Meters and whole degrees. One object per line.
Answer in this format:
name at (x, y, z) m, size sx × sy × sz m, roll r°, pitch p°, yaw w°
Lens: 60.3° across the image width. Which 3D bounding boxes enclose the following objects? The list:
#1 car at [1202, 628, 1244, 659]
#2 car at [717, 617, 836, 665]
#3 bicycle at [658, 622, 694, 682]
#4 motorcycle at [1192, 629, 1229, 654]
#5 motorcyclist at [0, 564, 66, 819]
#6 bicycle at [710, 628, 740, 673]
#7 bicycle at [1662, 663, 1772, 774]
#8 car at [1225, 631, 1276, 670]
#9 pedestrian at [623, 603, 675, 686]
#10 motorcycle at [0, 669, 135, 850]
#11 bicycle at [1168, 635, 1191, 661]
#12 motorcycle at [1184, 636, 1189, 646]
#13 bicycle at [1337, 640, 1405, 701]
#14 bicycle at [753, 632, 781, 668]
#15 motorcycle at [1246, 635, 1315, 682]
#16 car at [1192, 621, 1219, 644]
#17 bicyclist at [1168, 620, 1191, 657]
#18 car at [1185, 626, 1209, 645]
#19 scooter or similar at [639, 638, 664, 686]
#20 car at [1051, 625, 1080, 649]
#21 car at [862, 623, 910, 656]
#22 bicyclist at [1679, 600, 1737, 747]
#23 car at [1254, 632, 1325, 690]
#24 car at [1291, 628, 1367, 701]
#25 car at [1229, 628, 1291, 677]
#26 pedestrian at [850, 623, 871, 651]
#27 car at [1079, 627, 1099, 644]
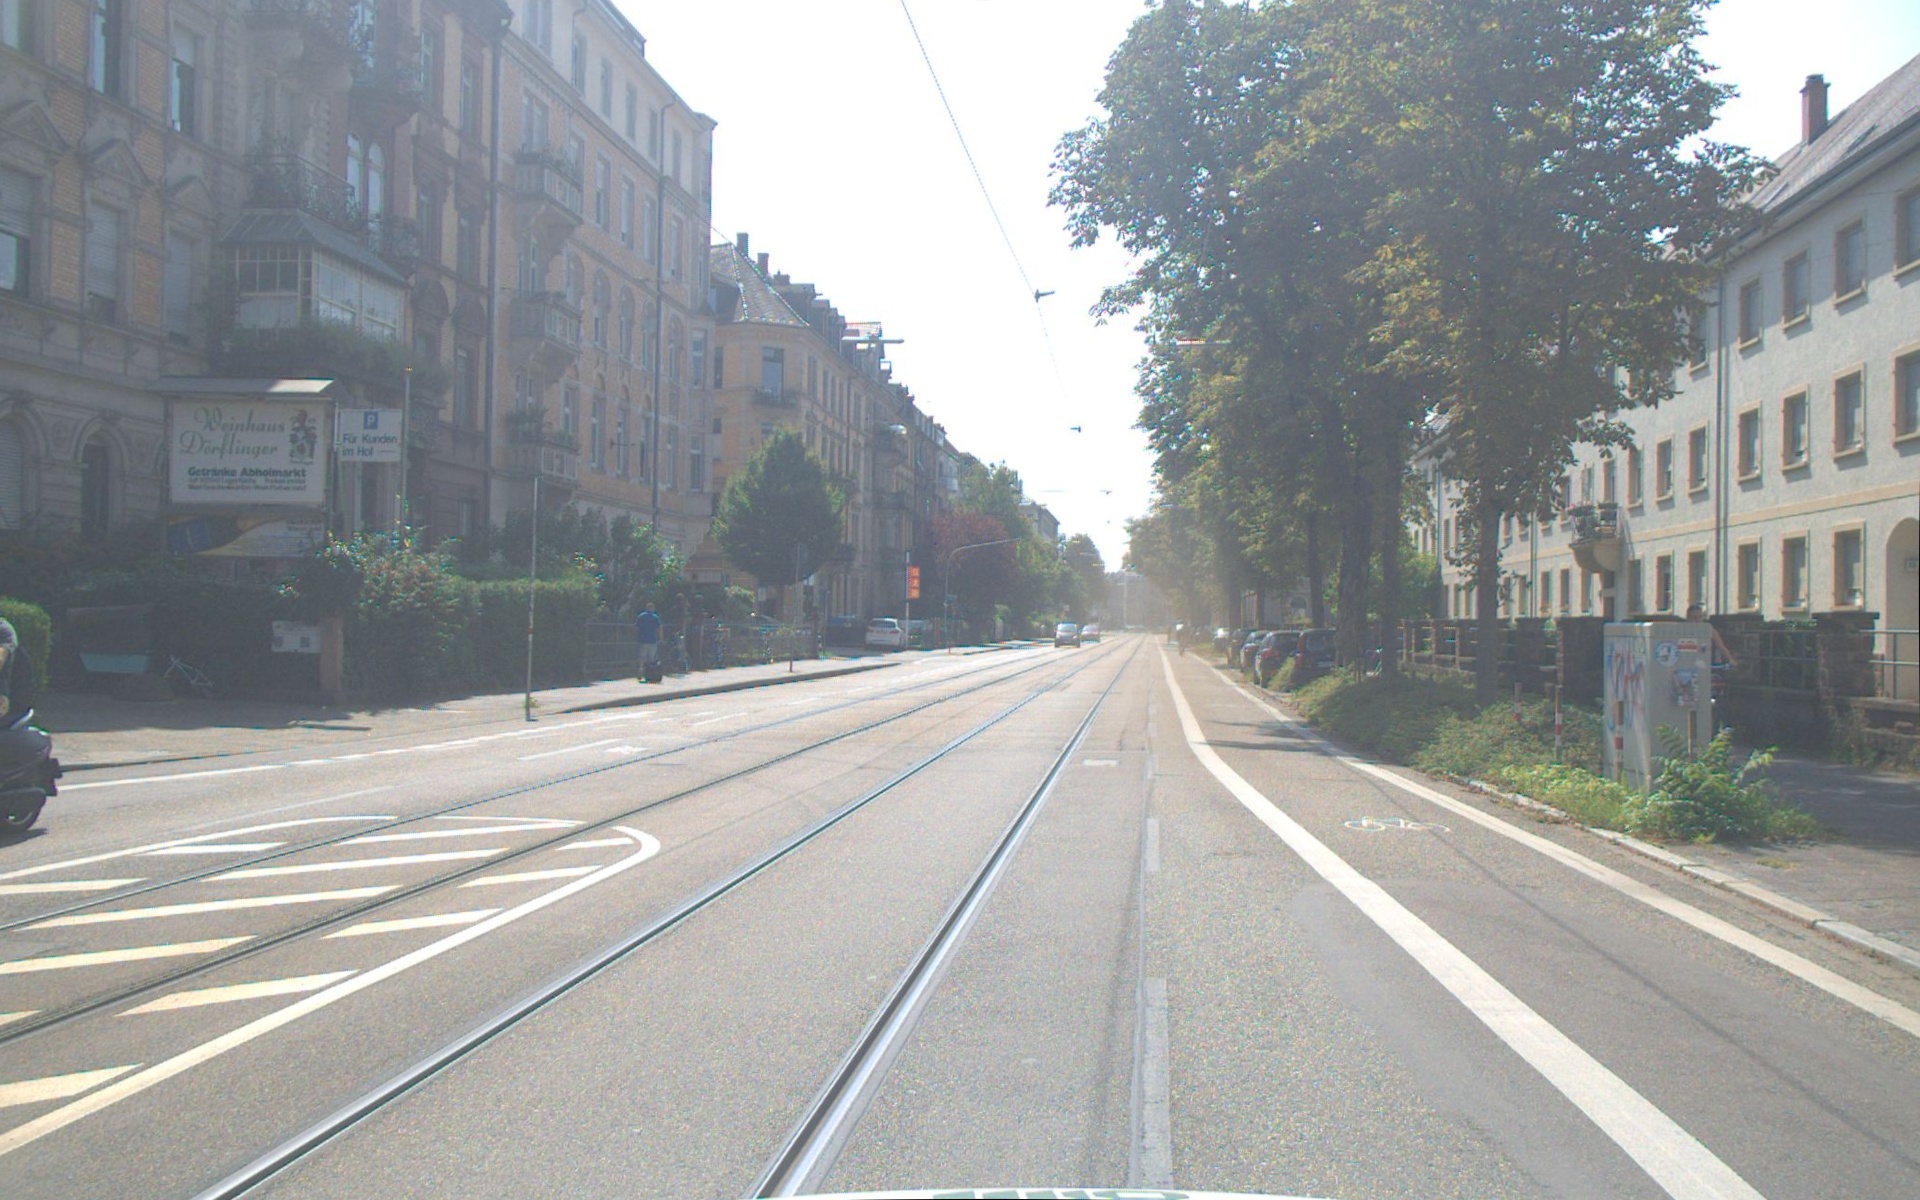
car at (13.373, 2.211, 84.226) m, size 1.852 × 1.503 × 4.843 m, roll 0°, pitch -1°, yaw 6°
car at (-6.808, 1.526, 61.634) m, size 4.014 × 1.622 × 1.880 m, roll 1°, pitch -1°, yaw 8°
bicycle at (-6.877, 1.247, 40.083) m, size 0.382 × 1.430 × 1.583 m, roll 1°, pitch -1°, yaw 8°
motorcycle at (16.296, 2.712, 107.568) m, size 0.960 × 1.567 × 2.310 m, roll 2°, pitch -4°, yaw -42°
motorcyclist at (-6.087, 0.551, 10.170) m, size 0.674 × 1.538 × 0.773 m, roll 1°, pitch -1°, yaw 8°
bicycle at (-6.314, 1.341, 44.496) m, size 0.382 × 1.168 × 1.583 m, roll 1°, pitch -1°, yaw 8°
bicycle at (7.940, 1.212, 17.417) m, size 0.431 × 1.065 × 1.829 m, roll 0°, pitch -1°, yaw 4°
car at (11.619, 2.003, 66.403) m, size 1.718 × 1.503 × 4.389 m, roll 1°, pitch -1°, yaw 6°
pedestrian at (-6.843, 0.966, 36.396) m, size 0.864 × 1.787 × 0.870 m, roll 1°, pitch -1°, yaw 7°
motorcycle at (-6.087, 0.983, 10.200) m, size 0.676 × 1.049 × 2.159 m, roll 1°, pitch -1°, yaw 8°
bicycle at (11.170, 2.447, 84.203) m, size 1.123 × 1.292 × 2.714 m, roll 0°, pitch -1°, yaw 8°
motorcycle at (26.320, 4.753, 192.329) m, size 0.537 × 1.086 × 2.332 m, roll 1°, pitch -2°, yaw 7°
bicycle at (7.823, 1.336, 31.458) m, size 1.372 × 1.128 × 0.386 m, roll 1°, pitch -1°, yaw -29°
bicycle at (-5.859, 1.521, 50.248) m, size 0.382 × 1.056 × 1.834 m, roll 1°, pitch -1°, yaw 8°
motorcycle at (9.647, 1.761, 49.881) m, size 1.961 × 1.392 × 0.783 m, roll 0°, pitch -1°, yaw 4°
car at (18.284, 2.407, 123.176) m, size 1.801 × 1.559 × 4.118 m, roll 0°, pitch 0°, yaw 6°
bicyclist at (11.162, 1.965, 84.144) m, size 1.101 × 1.869 × 0.956 m, roll 1°, pitch -2°, yaw 7°
car at (19.974, 3.021, 139.622) m, size 1.801 × 1.559 × 4.782 m, roll -1°, pitch -1°, yaw 6°
scooter or similar at (-6.663, 1.338, 35.743) m, size 0.392 × 0.999 × 0.584 m, roll 2°, pitch -1°, yaw -1°
car at (7.165, 2.484, 112.313) m, size 1.788 × 1.567 × 4.002 m, roll 0°, pitch -1°, yaw 6°
car at (-3.688, 1.984, 83.089) m, size 1.952 × 1.622 × 4.361 m, roll 0°, pitch -1°, yaw 3°
bicyclist at (7.958, 0.776, 17.606) m, size 0.428 × 1.538 × 0.472 m, roll 0°, pitch -1°, yaw 3°
car at (8.962, 1.633, 45.273) m, size 1.582 × 1.503 × 4.041 m, roll -1°, pitch -1°, yaw 7°
car at (8.332, 1.416, 37.259) m, size 1.582 × 1.557 × 3.501 m, roll -1°, pitch -1°, yaw 13°
car at (10.124, 1.766, 56.095) m, size 1.718 × 1.503 × 4.460 m, roll -3°, pitch -2°, yaw 7°
pedestrian at (-5.422, 2.016, 90.036) m, size 0.872 × 1.537 × 0.863 m, roll 1°, pitch -1°, yaw -24°
car at (11.633, 3.198, 148.907) m, size 1.695 × 1.516 × 4.002 m, roll 0°, pitch -1°, yaw 6°
